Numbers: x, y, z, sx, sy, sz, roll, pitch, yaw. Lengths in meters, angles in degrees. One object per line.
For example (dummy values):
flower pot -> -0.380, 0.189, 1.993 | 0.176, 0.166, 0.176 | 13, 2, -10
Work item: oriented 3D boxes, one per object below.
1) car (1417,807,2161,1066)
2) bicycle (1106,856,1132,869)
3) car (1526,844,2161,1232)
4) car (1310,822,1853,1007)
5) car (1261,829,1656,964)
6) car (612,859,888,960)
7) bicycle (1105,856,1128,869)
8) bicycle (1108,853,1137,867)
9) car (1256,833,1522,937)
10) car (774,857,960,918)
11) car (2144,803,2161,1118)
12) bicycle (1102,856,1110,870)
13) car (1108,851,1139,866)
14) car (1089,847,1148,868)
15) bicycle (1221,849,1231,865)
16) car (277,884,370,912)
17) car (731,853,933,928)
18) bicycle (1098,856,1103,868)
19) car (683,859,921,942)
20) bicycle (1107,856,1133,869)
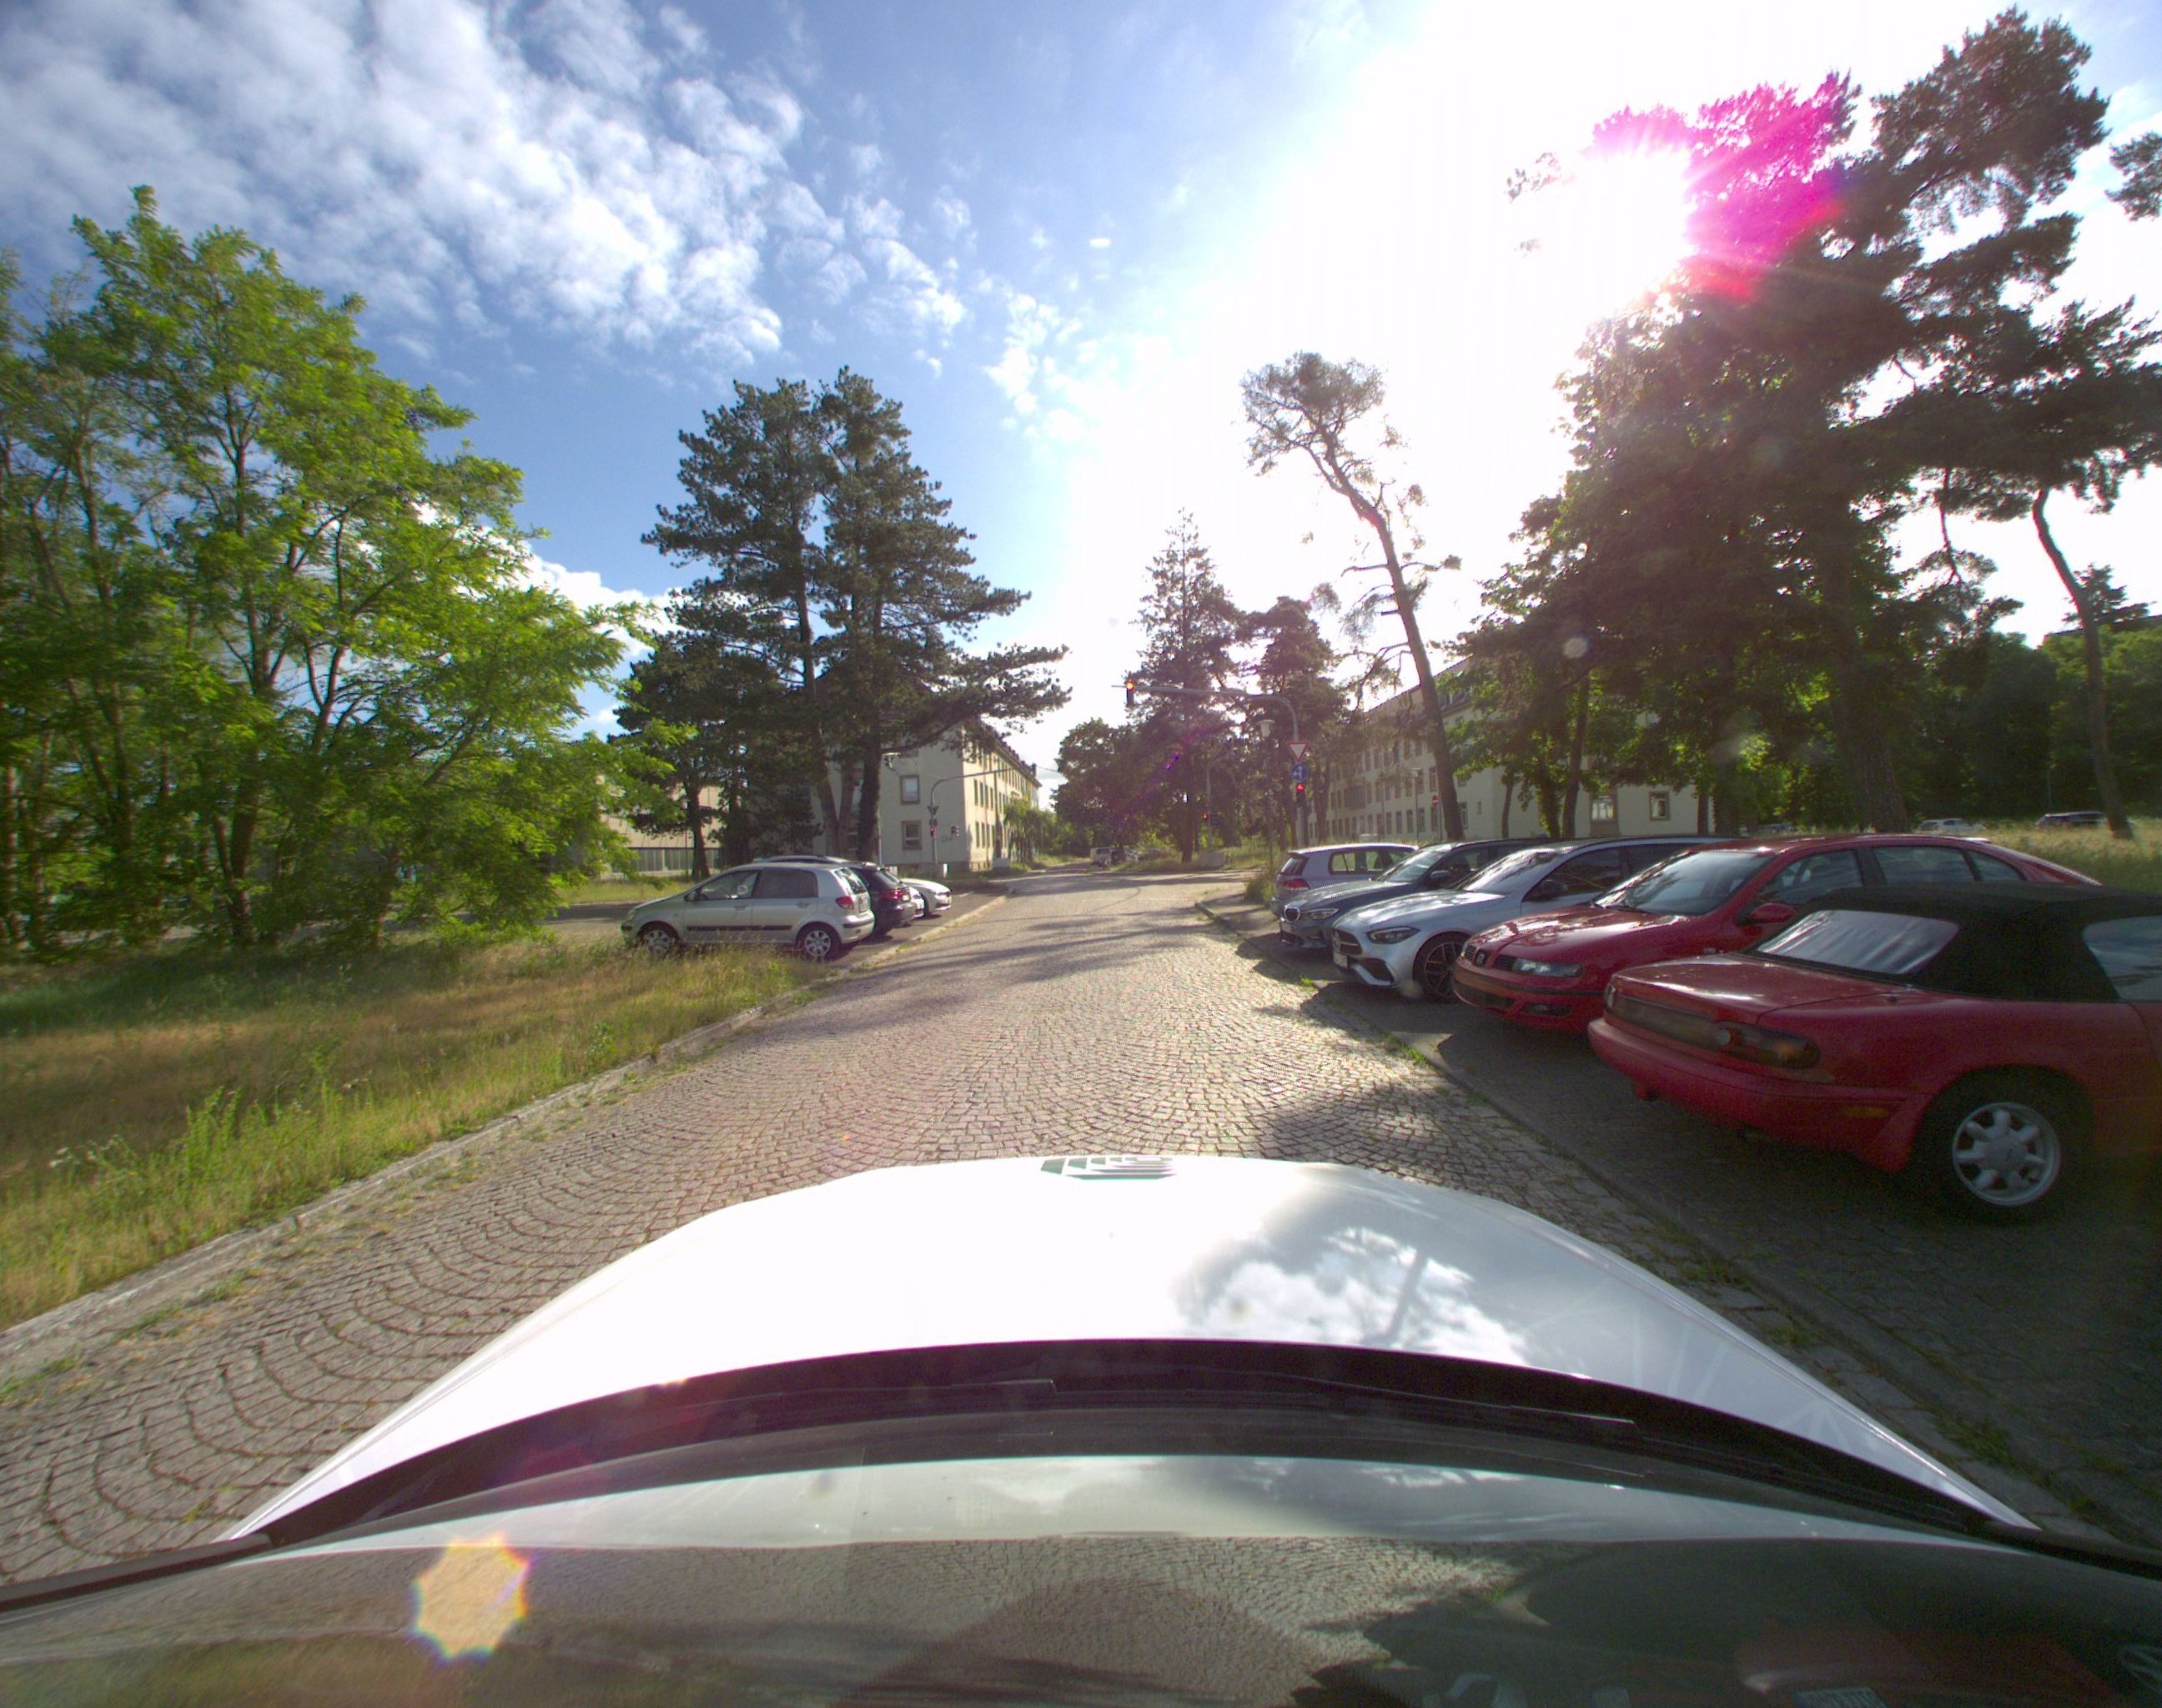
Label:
car -> 4.967, 0.542, 6.167 | 4.111, 1.449, 1.638 | -4, 0, 2
bicycle -> 3.039, 0.685, 65.402 | 2.025, 1.010, 0.626 | 0, -1, -6
car -> 4.466, 0.681, 3.882 | 3.693, 1.223, 1.747 | -4, 0, 2
car -> 4.818, 0.552, 8.359 | 4.415, 1.415, 1.782 | -4, 0, 2
car -> 4.921, 0.530, 11.074 | 4.542, 1.415, 1.637 | -4, 0, 2
car -> -5.184, 0.836, 13.117 | 3.736, 1.487, 1.645 | 0, 0, -2
bicycle -> 2.892, 0.692, 66.279 | 1.835, 1.010, 0.634 | 0, -1, -6
bicycle -> 3.193, 0.464, 62.803 | 2.106, 1.010, 0.619 | 0, -1, -6
car -> 5.097, 0.490, 13.852 | 3.867, 1.415, 1.638 | -4, 0, 2
car -> -5.436, 0.835, 21.125 | 4.321, 1.468, 1.830 | 0, 0, -2
car -> 4.743, 0.477, 1.271 | 3.693, 1.449, 1.817 | -4, 0, 1
bicycle -> 1.822, 0.650, 59.222 | 0.466, 1.010, 1.585 | 0, 0, -2
car -> 3.997, 0.416, 77.268 | 2.775, 1.467, 1.669 | 0, -1, -3
car -> 3.756, 0.329, 80.811 | 5.533, 2.014, 1.989 | 0, -1, -17
bicycle -> 9.015, 0.207, 50.560 | 0.300, 0.961, 1.585 | 0, 0, -2
car -> -46.807, 2.691, 50.428 | 1.895, 1.433, 4.002 | -2, -1, 2
car -> -5.603, 0.792, 18.747 | 4.069, 1.593, 1.884 | 0, 0, -2
bicycle -> 1.776, 0.699, 72.495 | 0.415, 1.010, 1.484 | 0, -1, 3
car -> -5.270, 0.850, 15.776 | 3.976, 1.480, 1.802 | 0, 0, -2
bicycle -> 3.084, 0.679, 64.517 | 2.002, 1.010, 0.631 | 0, -1, -6
